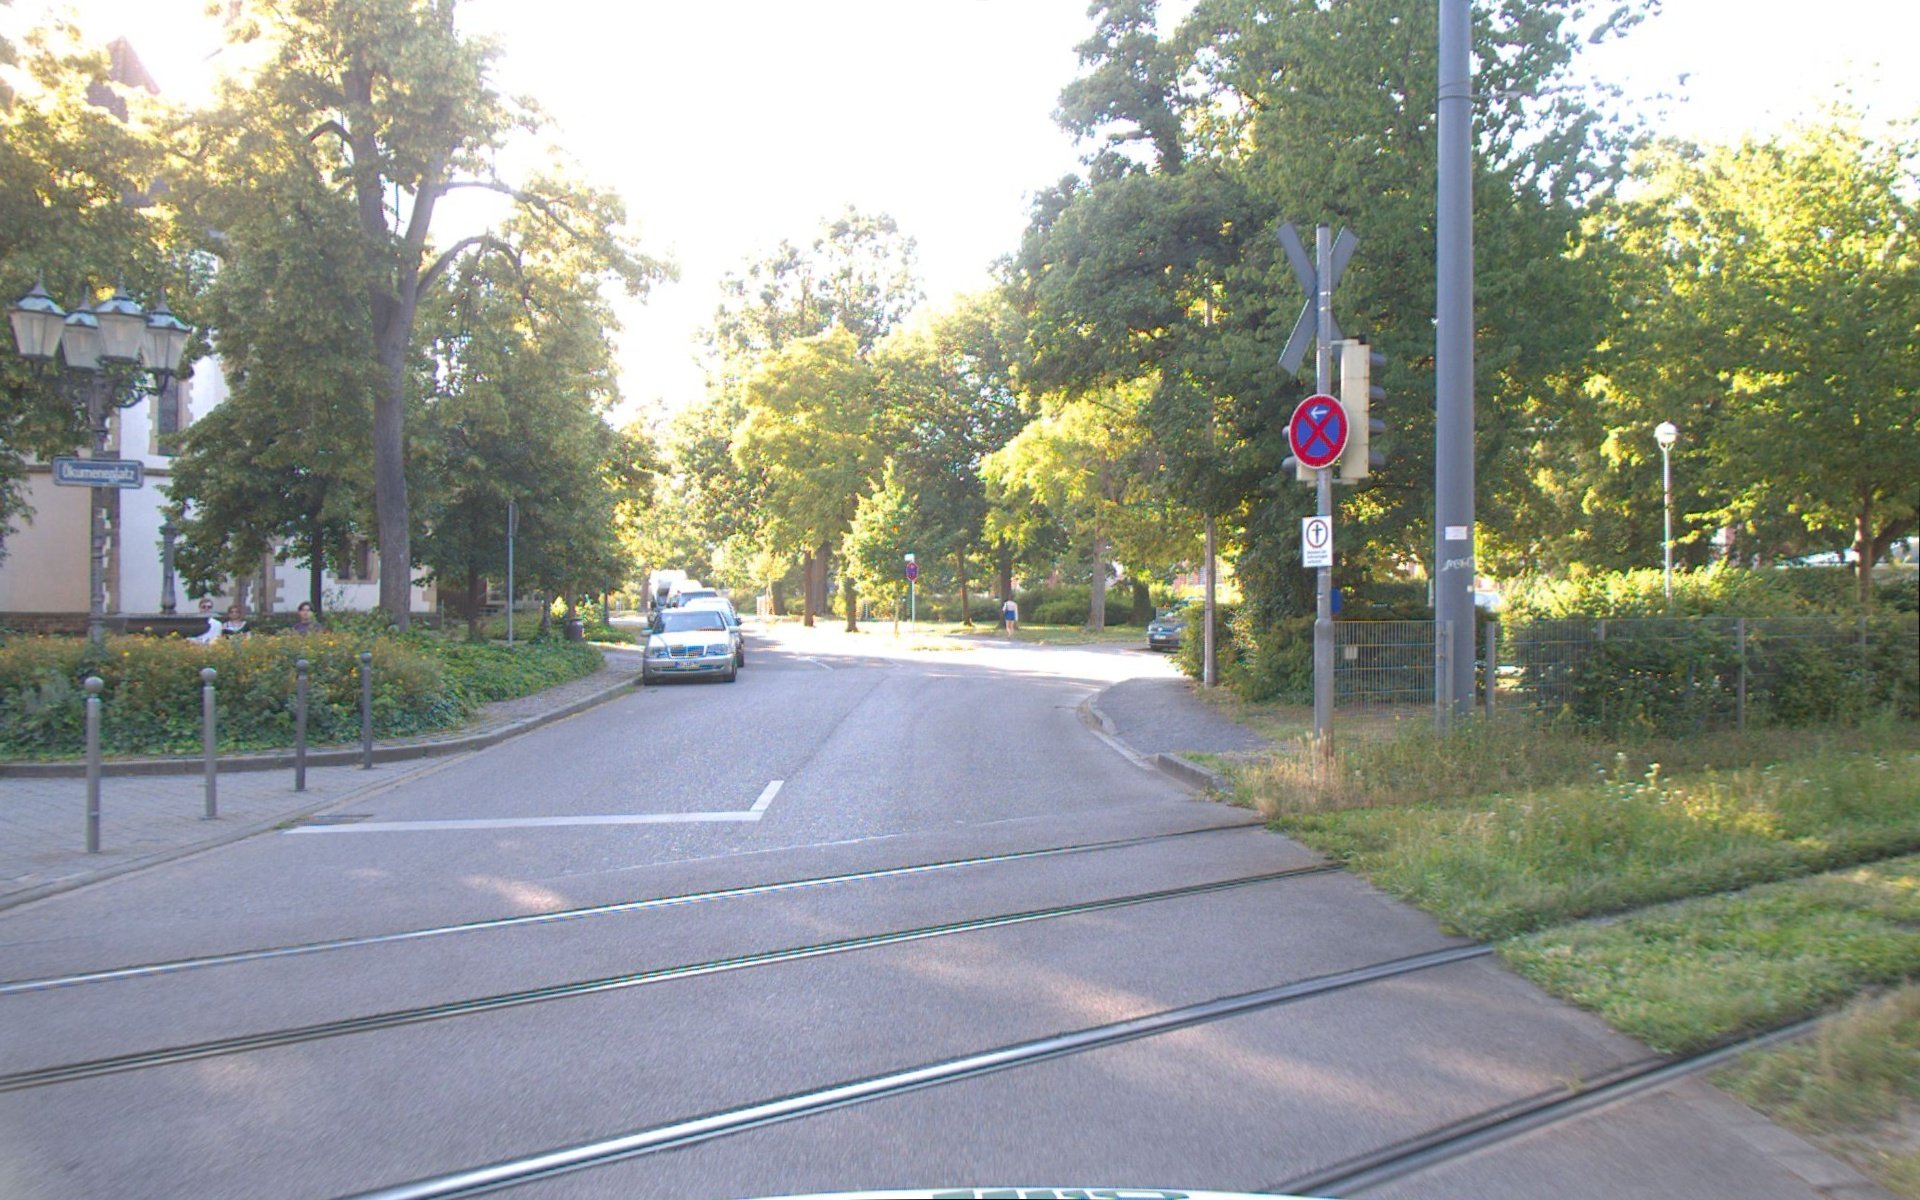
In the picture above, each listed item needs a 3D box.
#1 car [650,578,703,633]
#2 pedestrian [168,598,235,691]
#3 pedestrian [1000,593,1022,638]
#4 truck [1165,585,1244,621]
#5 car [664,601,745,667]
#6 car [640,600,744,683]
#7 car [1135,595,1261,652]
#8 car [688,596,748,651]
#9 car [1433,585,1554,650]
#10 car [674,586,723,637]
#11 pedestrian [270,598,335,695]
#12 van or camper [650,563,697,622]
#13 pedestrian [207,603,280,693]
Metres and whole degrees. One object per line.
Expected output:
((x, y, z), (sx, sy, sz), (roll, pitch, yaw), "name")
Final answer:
((-12.693, 0.233, 73.927), (1.821, 2.397, 5.164), (0, 0, -16), "car")
((-10.479, 0.604, 22.850), (0.539, 1.254, 0.725), (0, 0, 7), "pedestrian")
((1.841, 0.552, 59.917), (0.757, 1.602, 0.767), (0, 0, -1), "pedestrian")
((21.566, 0.215, 146.378), (2.577, 3.082, 7.927), (1, 0, -30), "truck")
((-6.195, 0.771, 40.091), (1.791, 1.440, 4.485), (-2, 0, -9), "car")
((-5.252, 0.767, 32.843), (1.745, 1.440, 4.492), (-2, 0, -6), "car")
((7.595, 0.722, 52.575), (1.778, 1.705, 4.290), (3, 2, 44), "car")
((-7.361, 0.678, 50.116), (1.674, 1.606, 3.687), (0, 0, -10), "car")
((17.742, 0.568, 54.869), (1.924, 2.049, 5.121), (0, 0, 42), "car")
((-10.590, 0.432, 66.799), (1.818, 1.980, 4.828), (0, 0, -10), "car")
((-9.112, 0.638, 22.946), (0.539, 1.320, 0.766), (0, 0, 7), "pedestrian")
((-14.879, -0.364, 85.735), (2.054, 2.959, 6.311), (0, 0, -13), "van or camper")
((-9.903, 0.651, 22.881), (0.539, 1.216, 0.885), (0, 0, 7), "pedestrian")
